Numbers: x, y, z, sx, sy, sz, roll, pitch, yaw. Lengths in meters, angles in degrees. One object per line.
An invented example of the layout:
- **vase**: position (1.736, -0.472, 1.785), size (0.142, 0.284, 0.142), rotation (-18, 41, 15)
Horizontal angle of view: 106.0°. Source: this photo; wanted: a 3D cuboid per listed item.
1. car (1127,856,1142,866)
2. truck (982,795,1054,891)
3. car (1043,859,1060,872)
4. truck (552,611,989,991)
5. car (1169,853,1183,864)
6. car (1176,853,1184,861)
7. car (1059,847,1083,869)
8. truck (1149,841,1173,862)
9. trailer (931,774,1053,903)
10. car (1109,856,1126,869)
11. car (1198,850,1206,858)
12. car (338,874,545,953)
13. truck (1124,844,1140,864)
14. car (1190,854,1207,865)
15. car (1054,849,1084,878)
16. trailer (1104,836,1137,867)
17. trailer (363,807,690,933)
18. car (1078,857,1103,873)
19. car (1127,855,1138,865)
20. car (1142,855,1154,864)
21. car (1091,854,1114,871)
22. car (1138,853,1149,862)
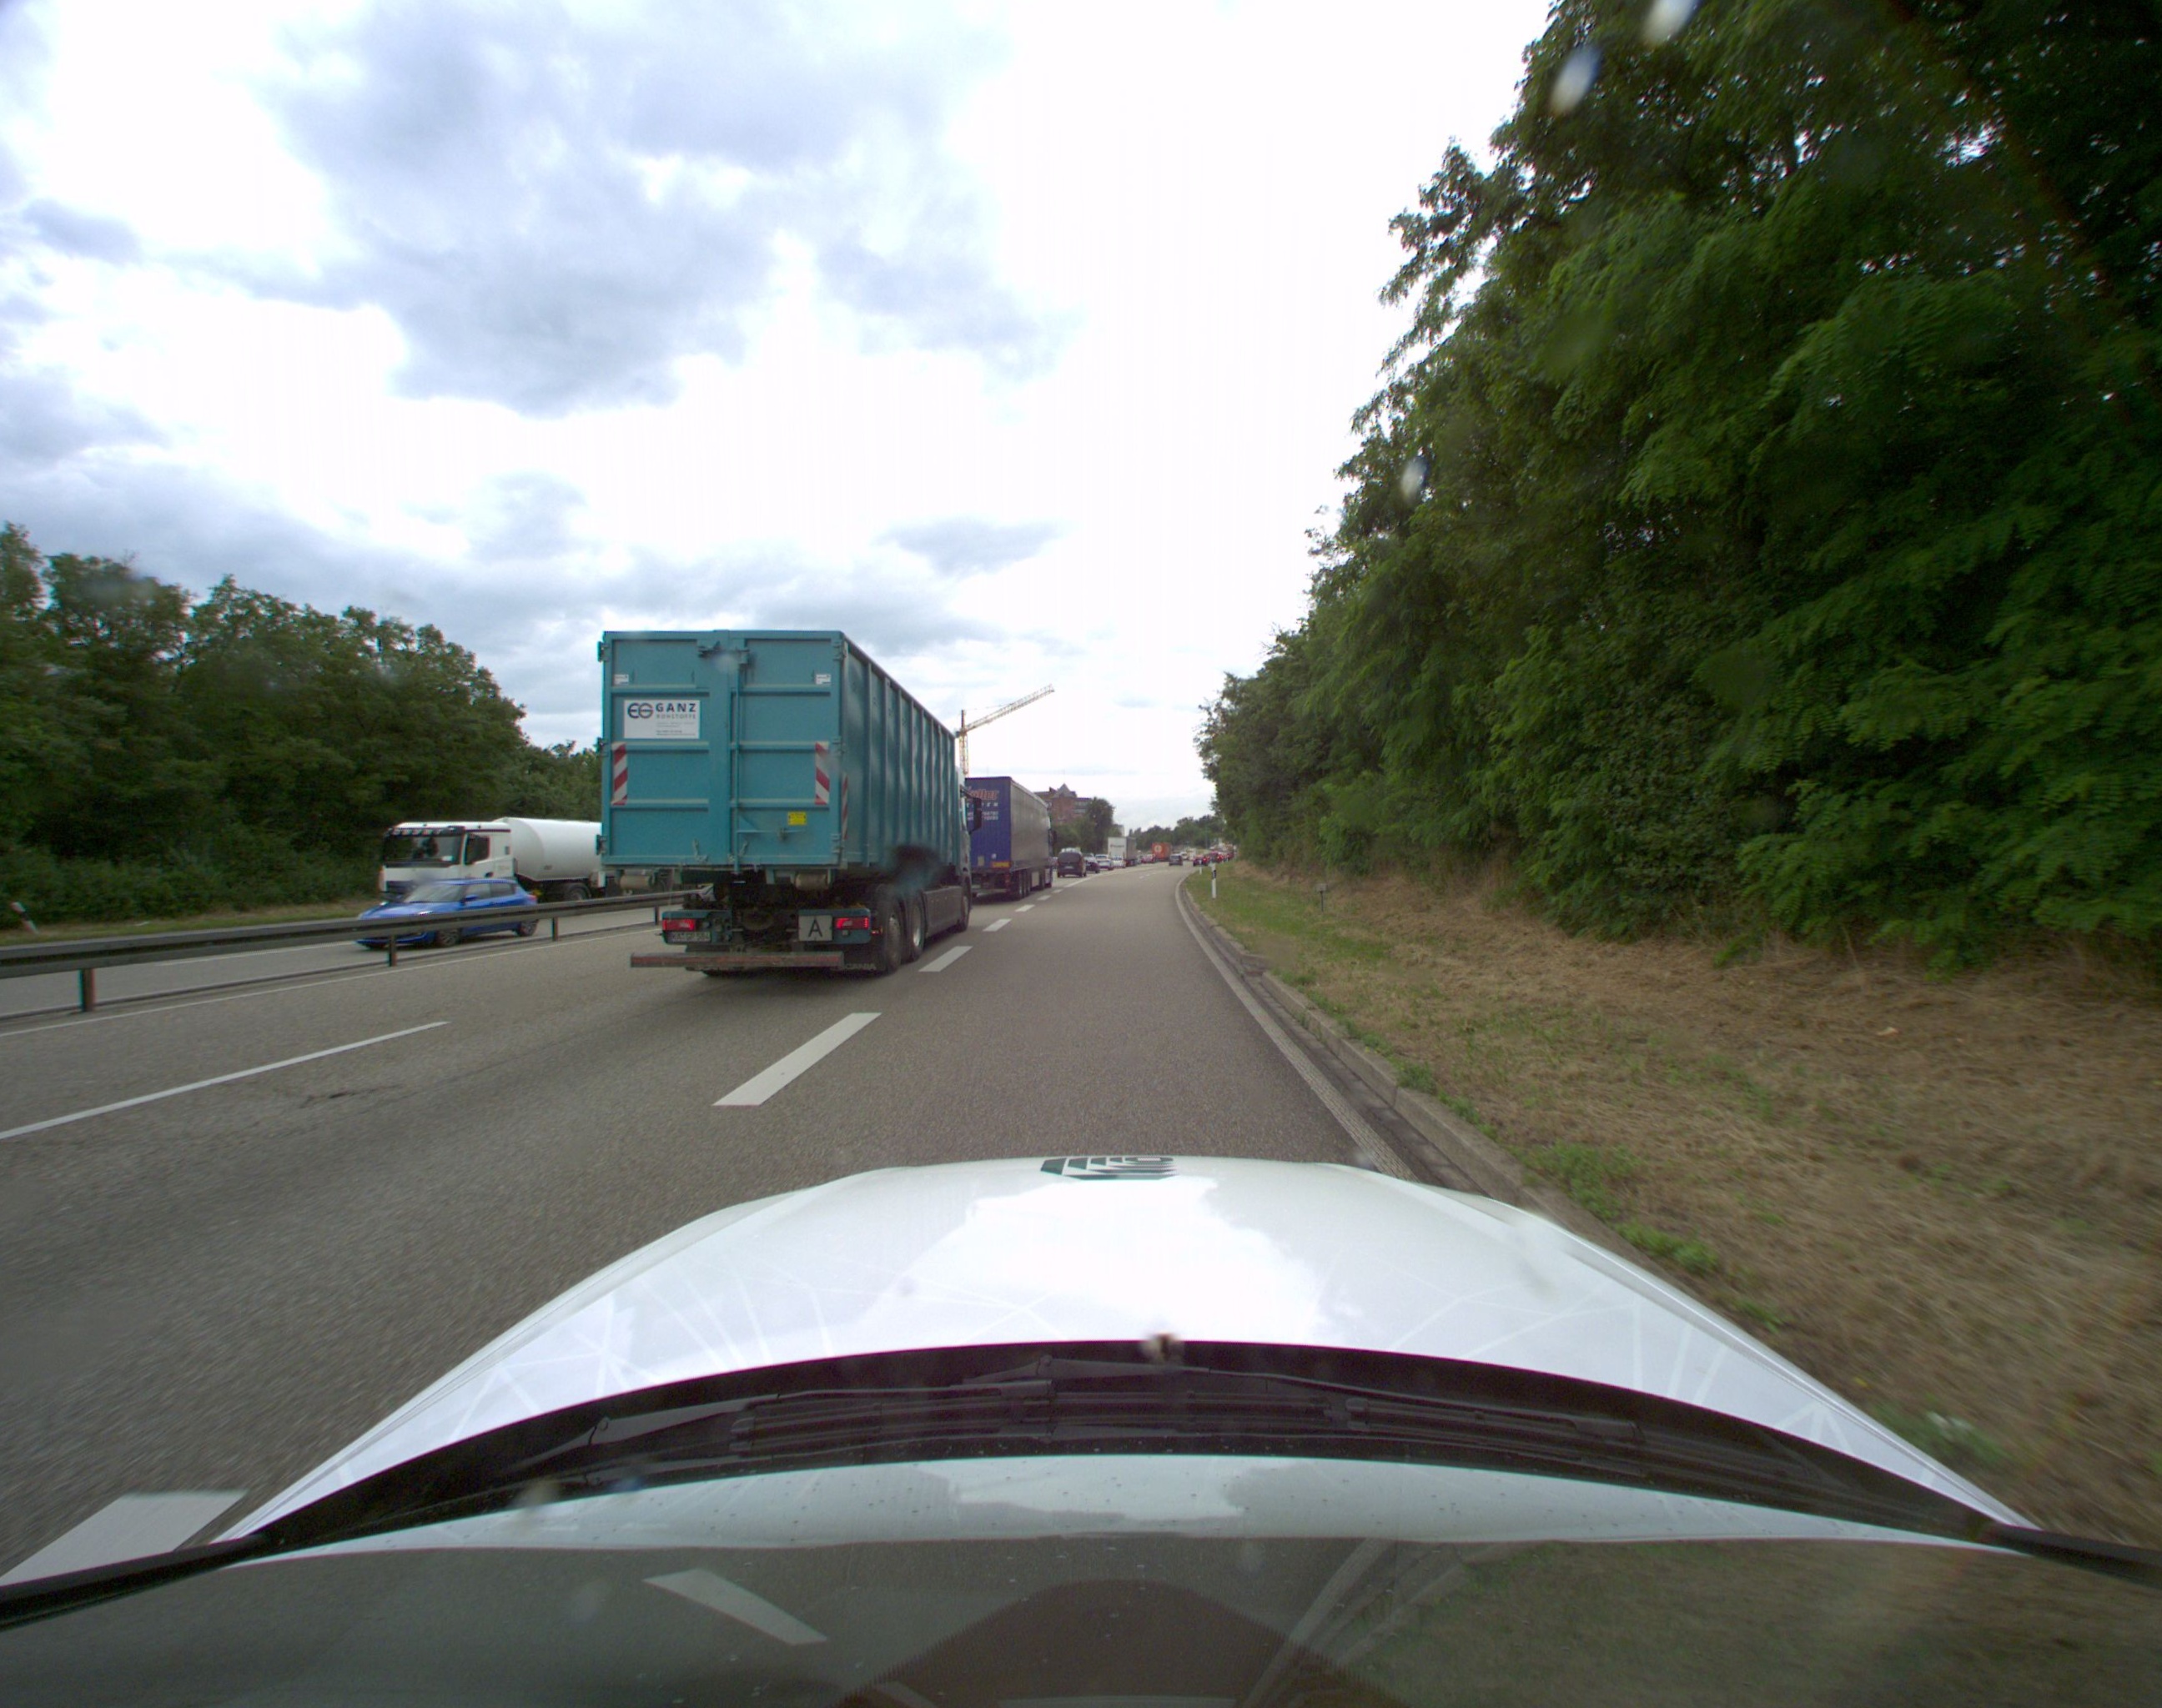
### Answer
- **car**: position (8.728, 1.119, 132.574), size (1.788, 1.604, 4.270), rotation (0, -1, 10)
- **truck**: position (-2.766, -0.429, 37.520), size (2.551, 4.043, 6.592), rotation (0, -1, 2)
- **car**: position (-3.104, 1.209, 86.906), size (1.434, 1.387, 3.052), rotation (-2, 0, 5)
- **truck**: position (-3.818, -0.531, 13.989), size (2.919, 3.796, 11.331), rotation (-2, 0, 1)
- **car**: position (13.671, 0.672, 116.962), size (1.815, 1.482, 4.008), rotation (-2, 0, 7)
- **car**: position (25.194, 0.869, 207.705), size (1.604, 1.948, 3.716), rotation (0, -1, 11)
- **car**: position (-1.188, 0.531, 99.246), size (1.982, 2.553, 5.376), rotation (-2, 0, 9)
- **truck**: position (17.057, -0.565, 173.475), size (3.467, 4.073, 13.636), rotation (-2, 0, 12)
- **trailer**: position (-3.023, -0.403, 32.195), size (2.615, 4.023, 13.473), rotation (0, -1, 3)
- **car**: position (4.459, 1.000, 98.466), size (1.755, 1.478, 4.096), rotation (-2, 0, 6)
- **car**: position (31.452, 0.003, 210.894), size (1.939, 2.013, 4.010), rotation (-1, 0, 9)
- **car**: position (-14.530, 1.285, 18.817), size (1.586, 1.501, 3.926), rotation (-2, 0, 1)
- **truck**: position (11.186, 0.025, 178.009), size (2.723, 4.138, 10.719), rotation (0, -1, 8)
- **car**: position (16.130, 0.730, 111.794), size (1.812, 1.483, 4.015), rotation (-2, 0, 13)
- **car**: position (-0.883, 0.701, 61.128), size (1.982, 1.898, 4.983), rotation (-4, 0, -1)
- **trailer**: position (5.501, -0.243, 111.296), size (3.280, 4.036, 13.128), rotation (0, -1, 8)
- **trailer**: position (-18.228, 0.451, 28.585), size (2.460, 3.396, 12.470), rotation (-2, 0, 2)
- **car**: position (0.900, 1.001, 74.413), size (1.838, 1.460, 4.837), rotation (0, -1, 5)
- **car**: position (8.340, 0.975, 132.336), size (1.522, 1.552, 3.426), rotation (-2, 0, 8)
- **car**: position (11.796, 0.973, 143.143), size (1.706, 1.684, 4.011), rotation (0, -1, 10)
- **car**: position (2.359, 0.909, 87.148), size (1.945, 1.695, 4.876), rotation (-2, 0, 8)
- **car**: position (13.395, 0.762, 174.475), size (1.807, 2.013, 4.010), rotation (-2, 0, 9)
